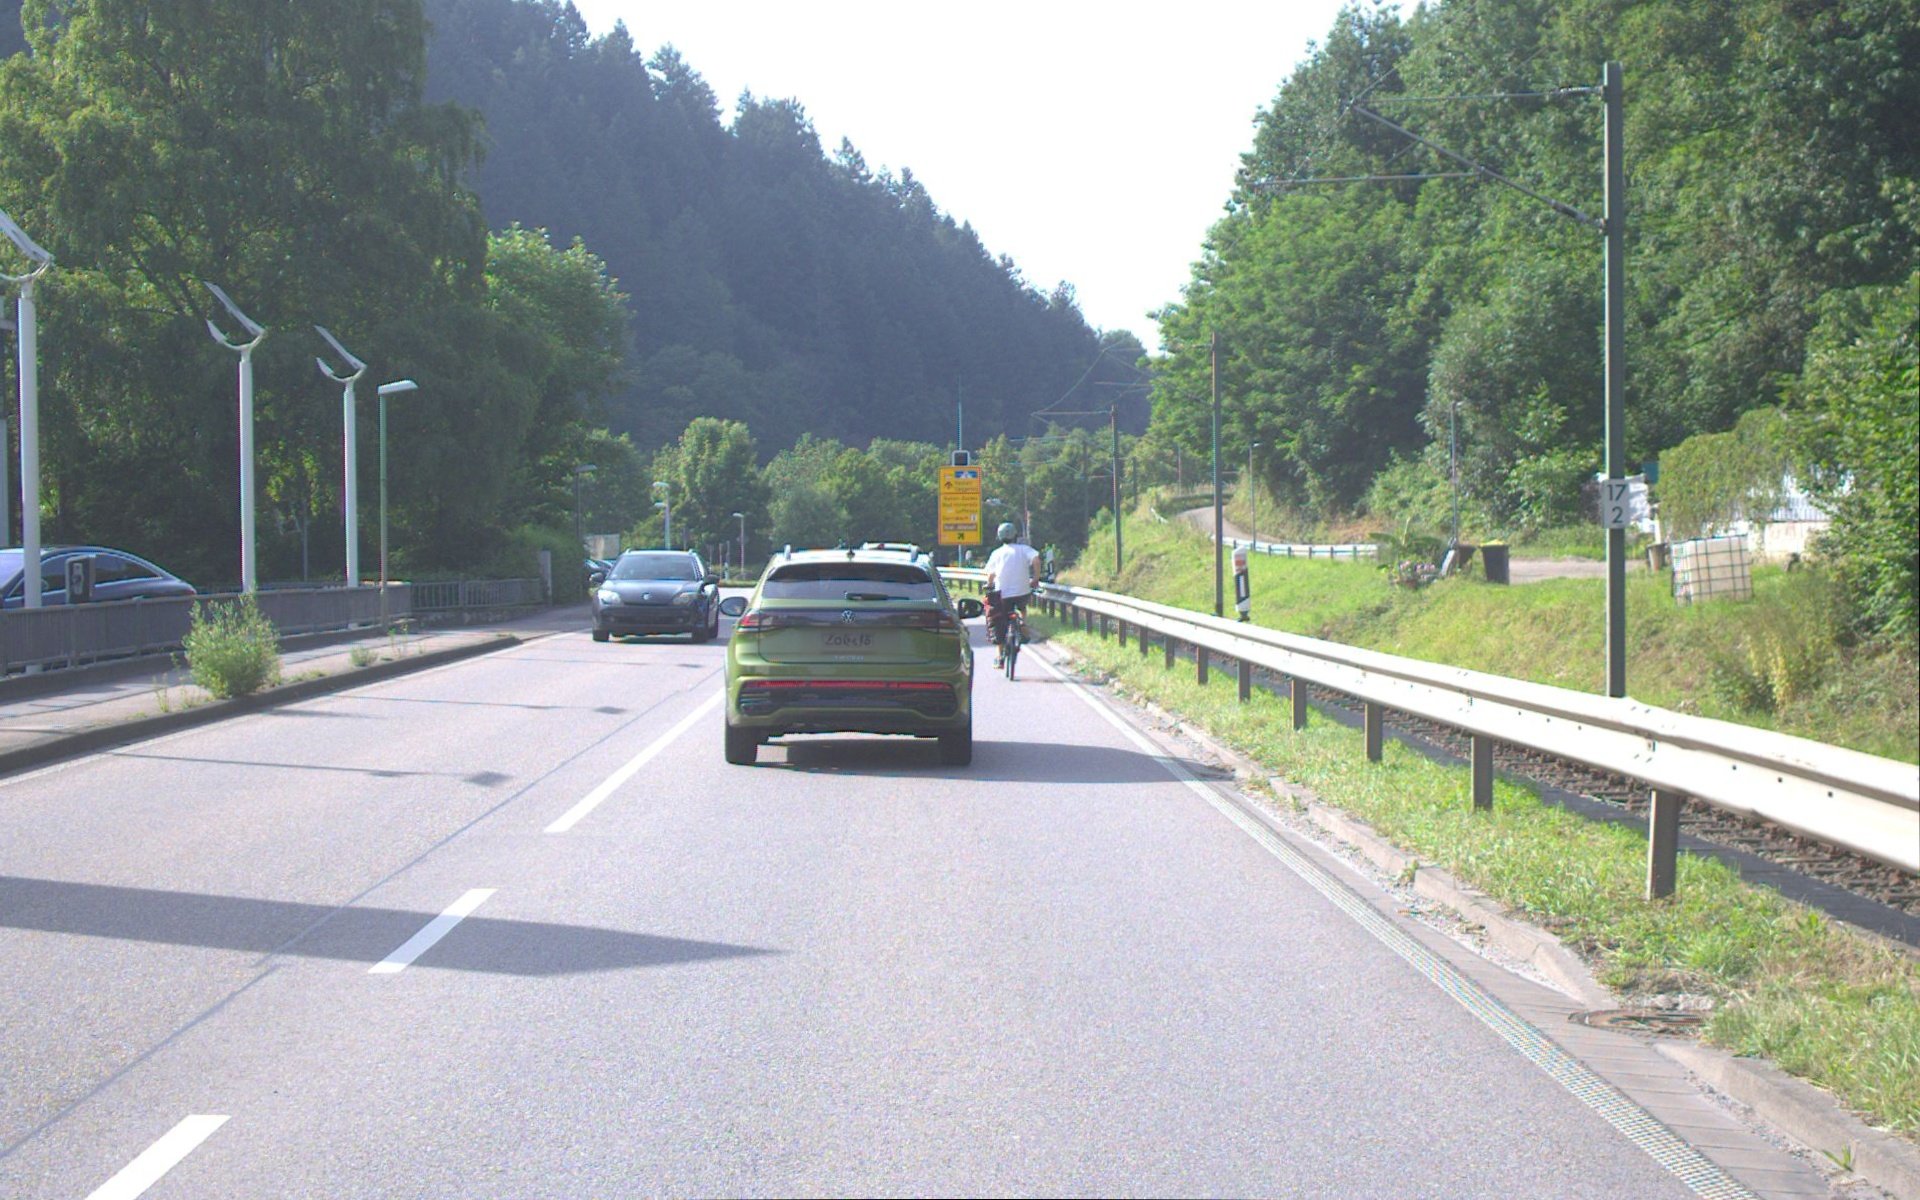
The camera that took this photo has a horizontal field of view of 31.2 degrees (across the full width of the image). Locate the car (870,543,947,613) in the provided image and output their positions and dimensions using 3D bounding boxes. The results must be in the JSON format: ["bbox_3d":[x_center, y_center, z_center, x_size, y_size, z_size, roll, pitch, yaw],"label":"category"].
[{"bbox_3d":[-1.238,-0.547,81.209,1.739,1.596,4.000,-1,1,-2],"label":"car"}]

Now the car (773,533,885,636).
[{"bbox_3d":[-2.124,-0.280,56.088,1.739,1.596,4.000,1,1,-2],"label":"car"}]

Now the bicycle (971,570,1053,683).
[{"bbox_3d":[0.586,0.285,39.526,0.811,1.246,2.123,0,1,-3],"label":"bicycle"}]

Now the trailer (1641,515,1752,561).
[{"bbox_3d":[20.230,-1.693,94.532,2.066,1.188,3.715,1,0,-3],"label":"trailer"}]

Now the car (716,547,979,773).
[{"bbox_3d":[-0.816,0.370,24.917,1.739,1.503,4.000,0,1,-2],"label":"car"}]

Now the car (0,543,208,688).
[{"bbox_3d":[-10.694,0.152,38.413,1.996,1.556,4.847,0,0,24],"label":"car"}]

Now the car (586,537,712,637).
[{"bbox_3d":[-4.925,-0.232,54.882,1.677,1.480,4.246,2,1,-1],"label":"car"}]

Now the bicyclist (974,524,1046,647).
[{"bbox_3d":[0.574,-0.172,39.613,0.781,1.407,0.675,0,1,-3],"label":"bicyclist"}]

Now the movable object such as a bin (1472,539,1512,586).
[{"bbox_3d":[12.422,-0.874,80.318,0.855,1.103,0.934,0,1,5],"label":"movable object such as a bin"}]
